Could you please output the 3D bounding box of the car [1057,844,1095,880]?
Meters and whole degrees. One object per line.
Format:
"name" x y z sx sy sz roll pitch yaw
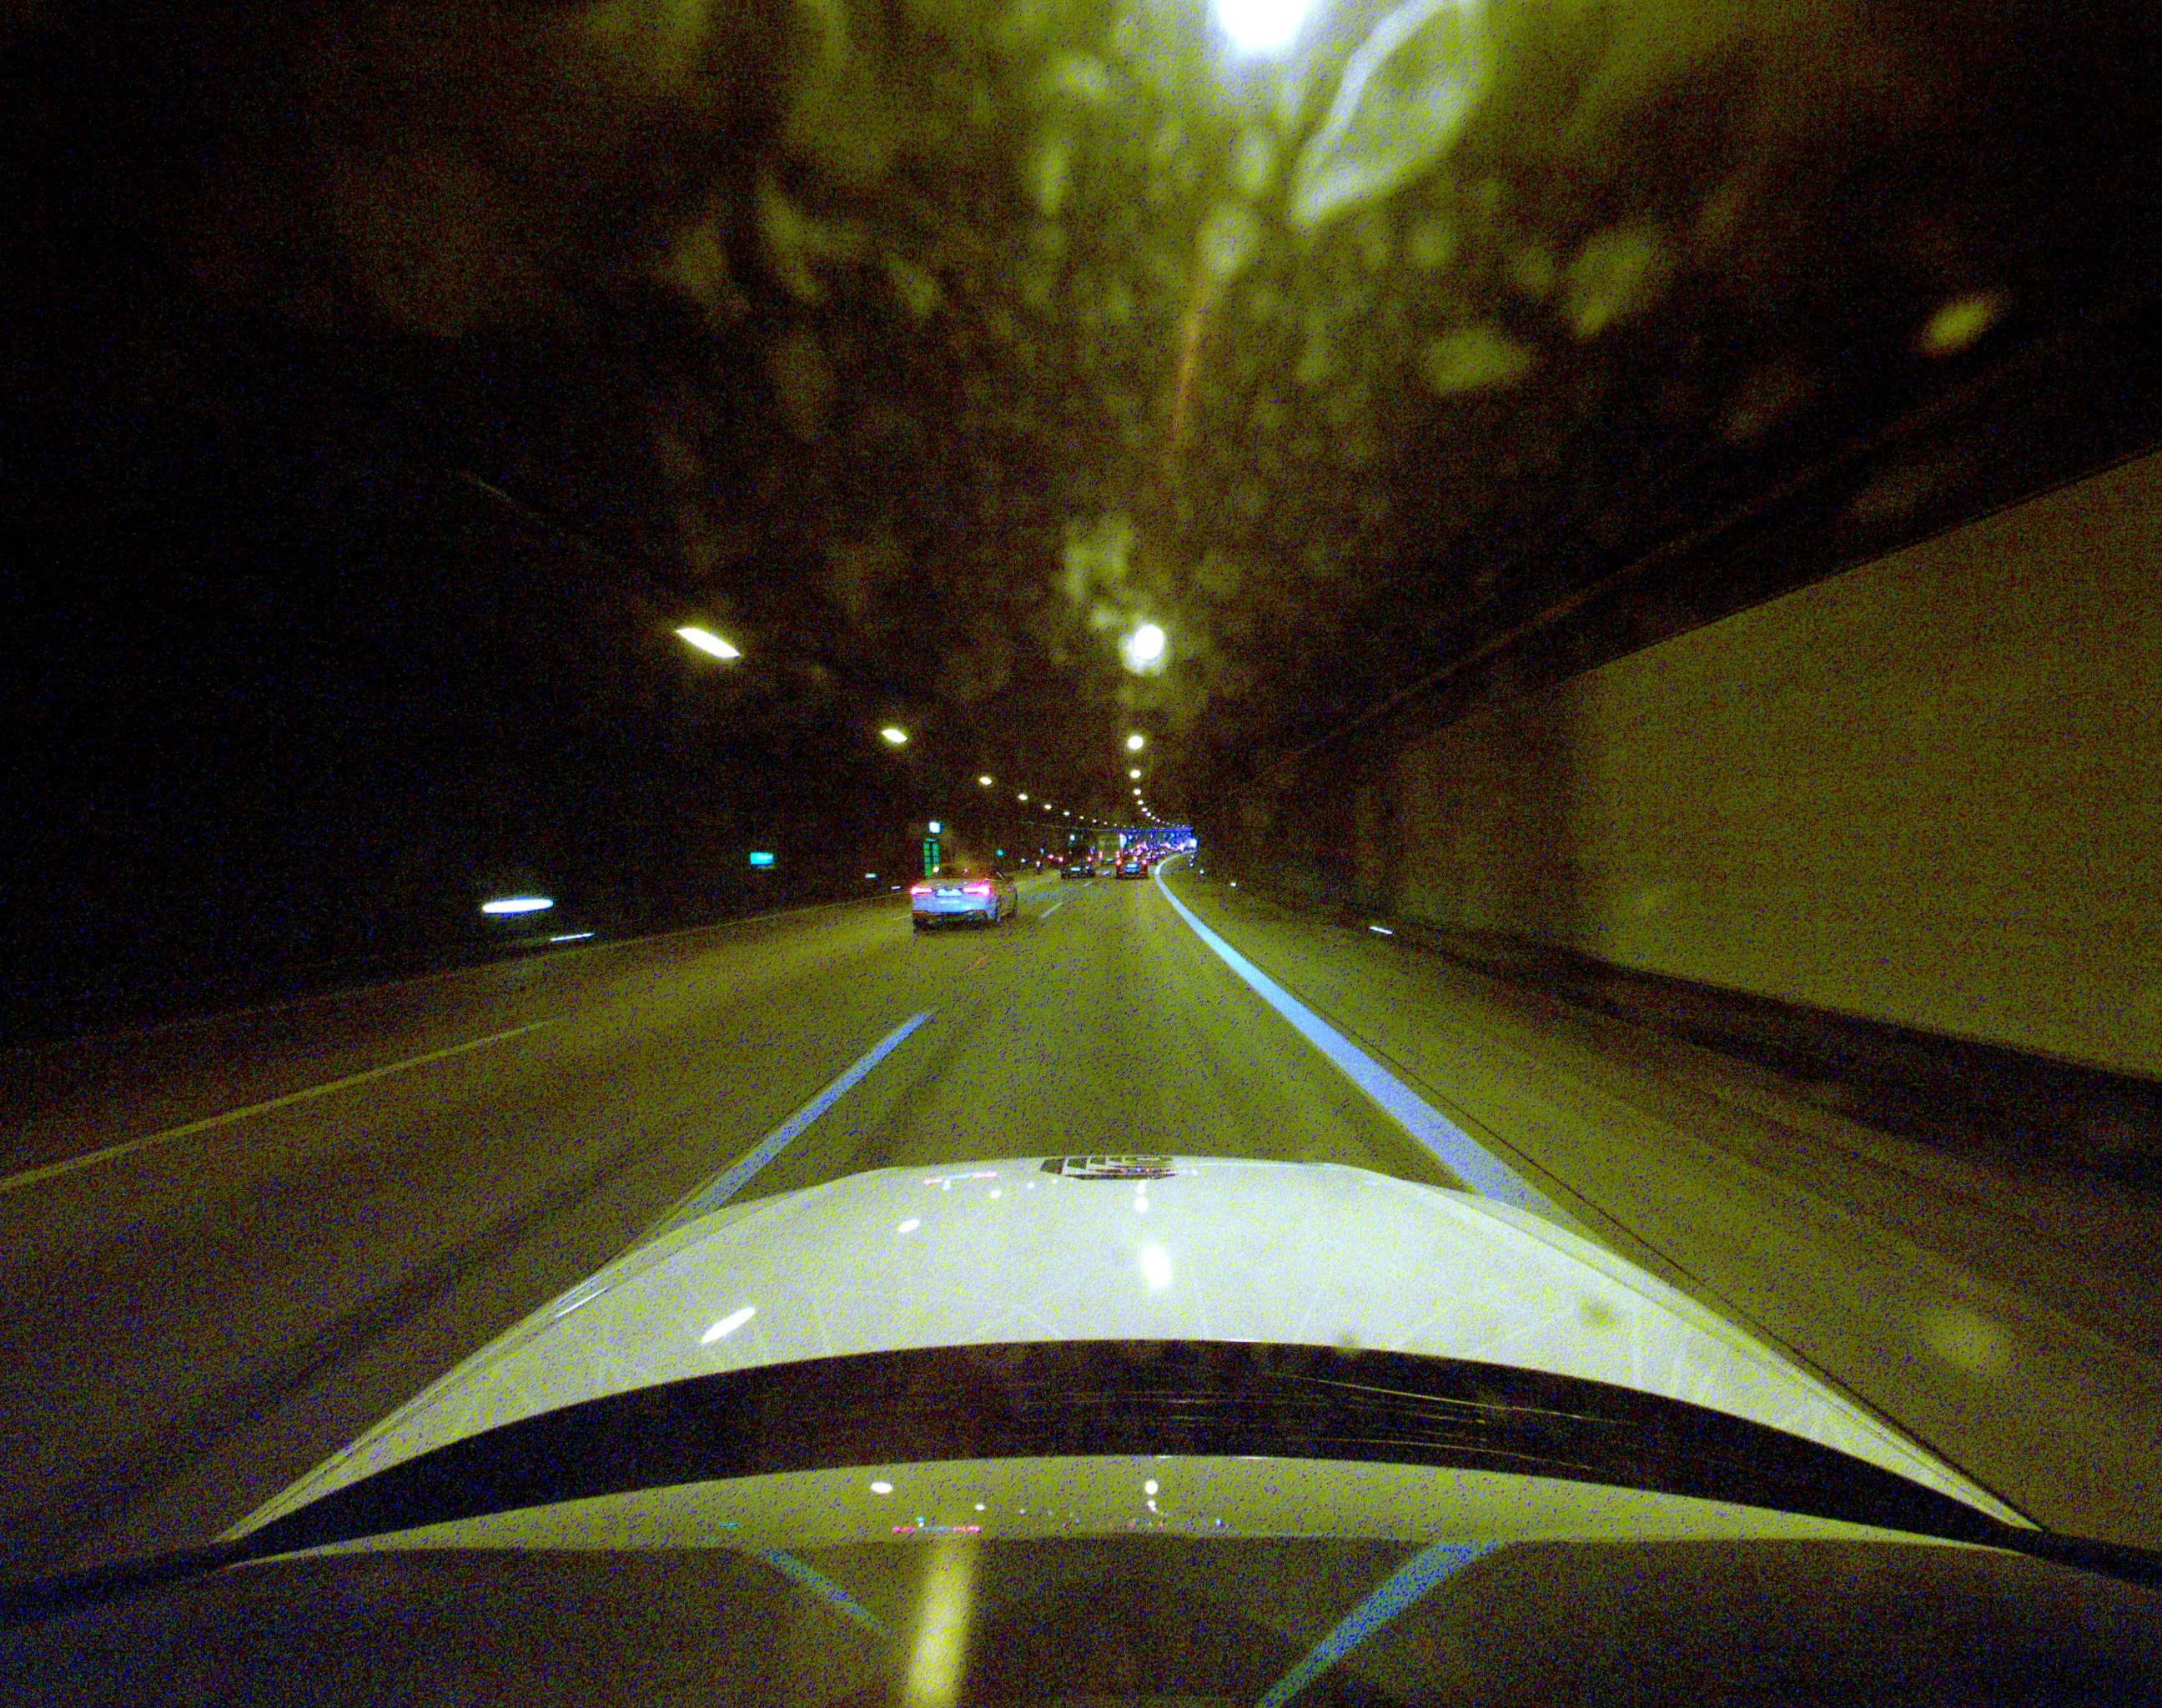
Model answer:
"car" -0.234 0.433 48.579 1.901 1.944 3.876 -1 1 4

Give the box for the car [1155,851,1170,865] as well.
"car" 10.800 0.582 108.077 1.940 1.772 4.006 -1 -1 5

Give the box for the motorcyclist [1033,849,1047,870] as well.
"motorcyclist" -2.817 0.391 56.295 0.803 1.448 1.866 -1 -2 2

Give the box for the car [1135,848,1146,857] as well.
"car" 11.419 -0.303 155.794 1.920 1.642 4.008 -1 0 7

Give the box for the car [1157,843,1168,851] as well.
"car" 18.782 -1.573 186.863 1.917 1.643 4.015 -1 -1 14

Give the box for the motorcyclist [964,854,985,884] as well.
"motorcyclist" -5.280 0.754 40.430 0.773 1.453 1.070 -1 -1 6

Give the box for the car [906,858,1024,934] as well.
"car" -2.501 0.857 18.776 1.695 1.419 5.064 -1 0 3

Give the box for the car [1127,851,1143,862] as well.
"car" 8.169 0.358 123.186 1.982 1.632 4.010 -1 0 9

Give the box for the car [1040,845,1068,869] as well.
"car" -2.342 0.223 71.217 1.984 2.013 4.005 -1 0 4

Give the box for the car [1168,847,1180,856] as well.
"car" 16.750 -0.449 146.849 1.921 1.643 4.006 -1 -1 6

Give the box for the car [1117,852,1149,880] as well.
"car" 3.024 0.646 47.053 1.734 1.464 3.877 -1 1 5

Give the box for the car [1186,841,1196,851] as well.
"car" 23.500 -1.670 174.122 1.981 2.014 4.011 -1 -1 10

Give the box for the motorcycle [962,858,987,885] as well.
"motorcycle" -5.286 0.867 40.436 0.679 1.297 2.402 -1 -1 5

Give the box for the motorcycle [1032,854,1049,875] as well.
"motorcycle" -2.791 0.754 56.259 0.923 1.434 2.964 0 -1 2

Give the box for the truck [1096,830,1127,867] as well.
"truck" 3.234 -0.590 85.556 3.026 3.673 7.399 -1 0 3

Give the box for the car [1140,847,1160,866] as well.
"car" 6.887 0.245 81.657 1.849 1.854 4.005 -1 0 4

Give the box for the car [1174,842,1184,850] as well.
"car" 21.919 -1.685 182.328 1.981 1.632 4.011 -1 -1 10
